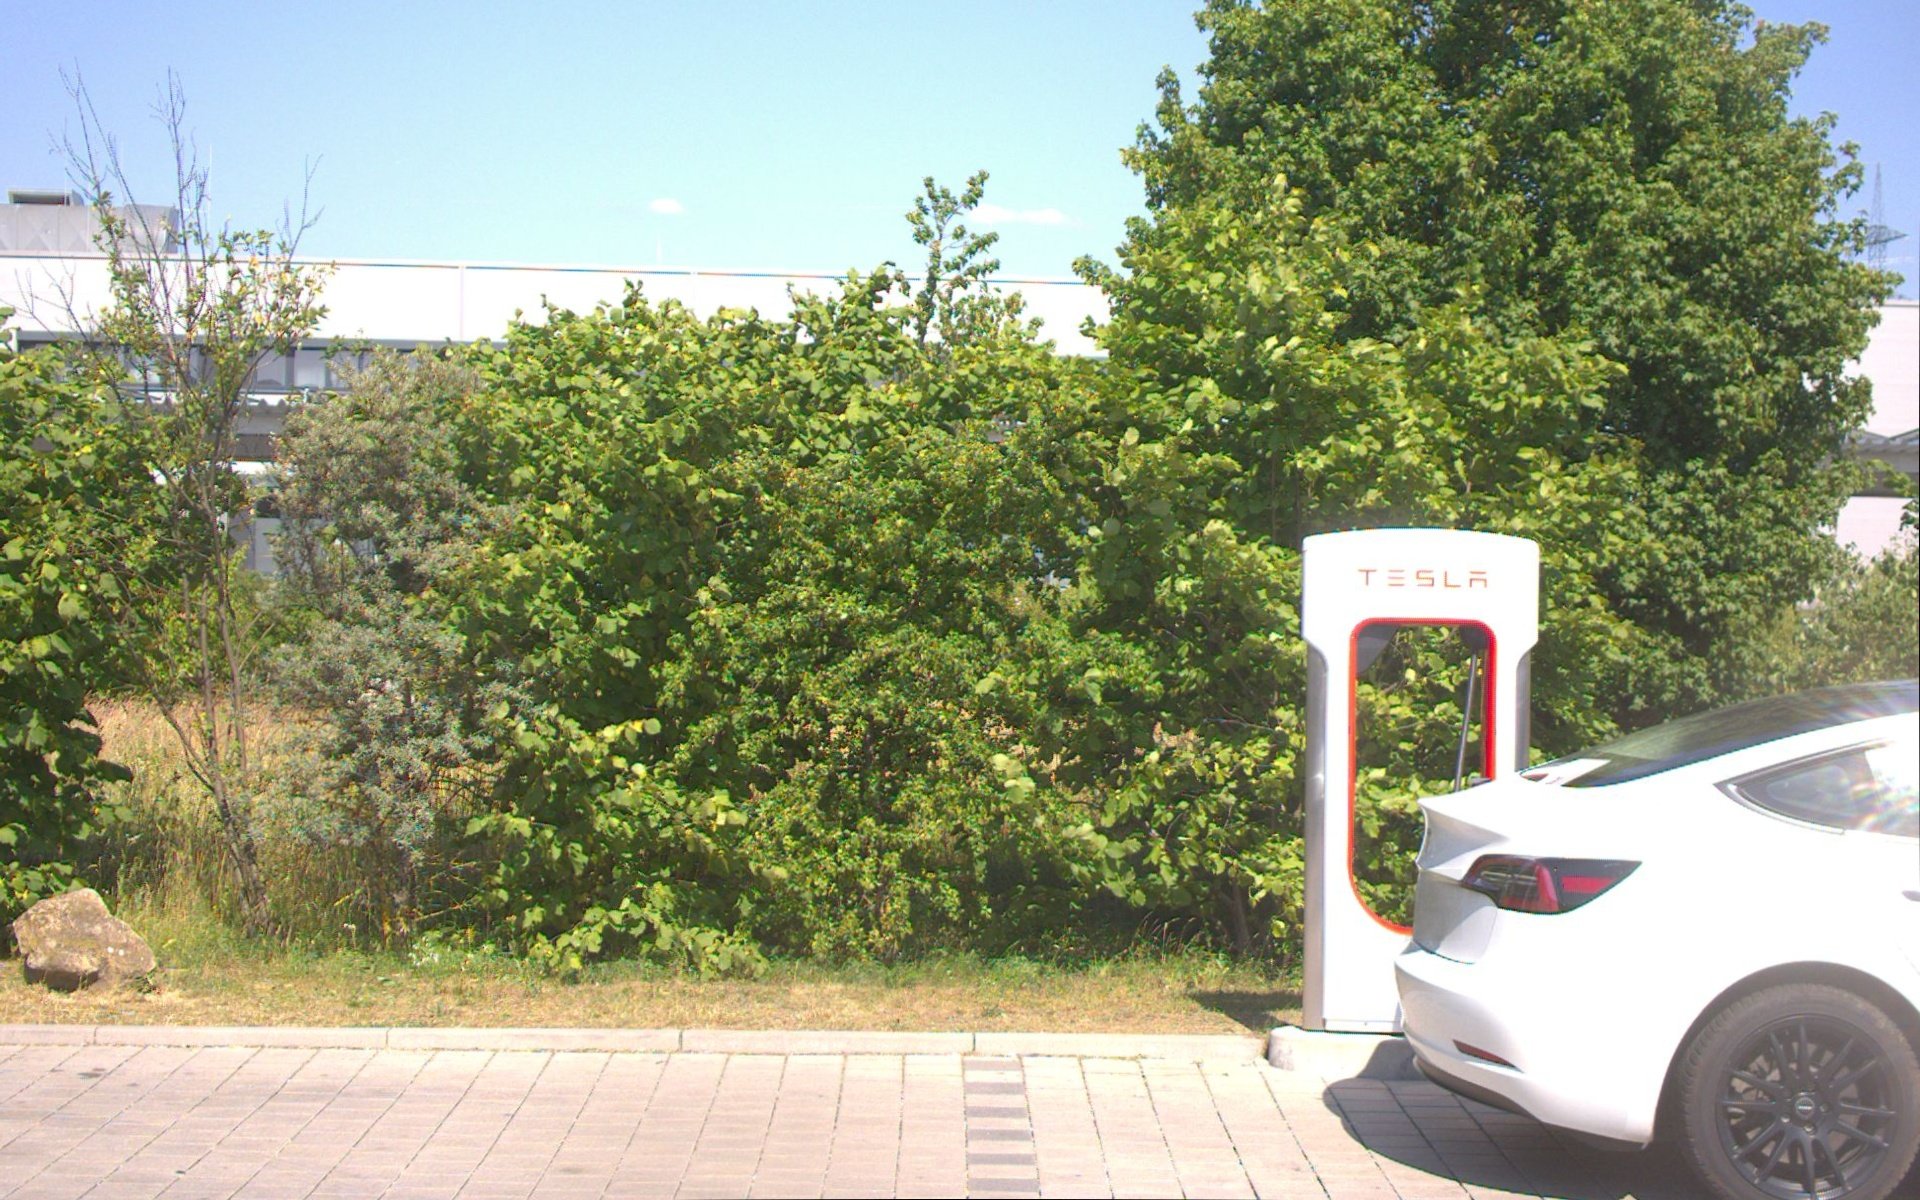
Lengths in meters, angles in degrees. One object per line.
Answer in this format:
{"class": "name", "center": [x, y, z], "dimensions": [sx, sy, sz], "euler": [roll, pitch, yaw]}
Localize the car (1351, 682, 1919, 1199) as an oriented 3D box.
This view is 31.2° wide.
{"class": "car", "center": [3.477, 0.976, 9.905], "dimensions": [4.434, 1.373, 1.822], "euler": [1, 0, -2]}
